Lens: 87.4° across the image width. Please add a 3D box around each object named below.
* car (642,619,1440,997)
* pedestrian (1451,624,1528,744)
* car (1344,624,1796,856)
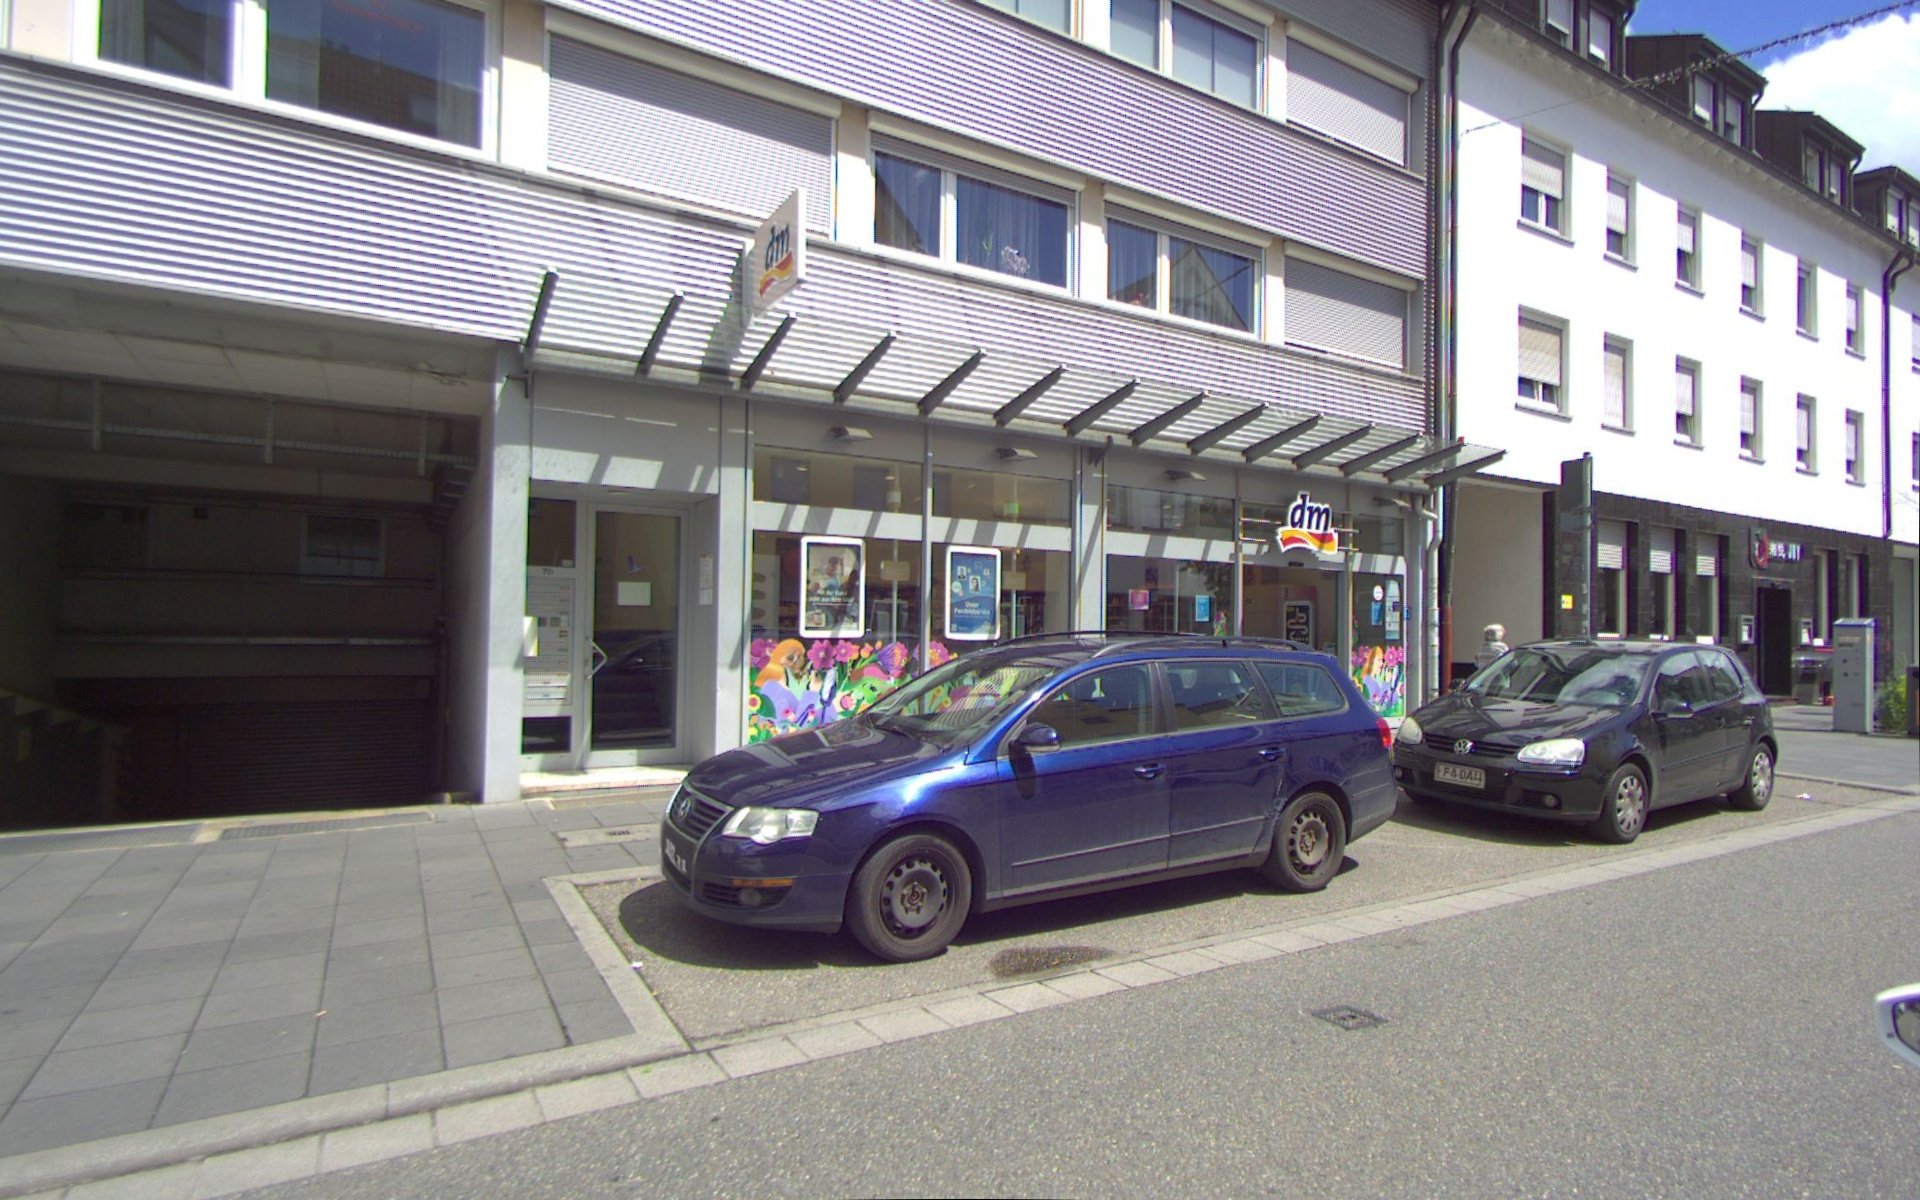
[{"bbox_3d":[0.654,0.930,6.106,4.657,1.533,1.781,2,-1,-30],"label":"car"},{"bbox_3d":[6.823,1.059,12.950,0.556,1.474,0.651,2,0,-30],"label":"pedestrian"},{"bbox_3d":[5.421,1.048,8.774,4.134,1.523,1.779,2,0,-34],"label":"car"}]
